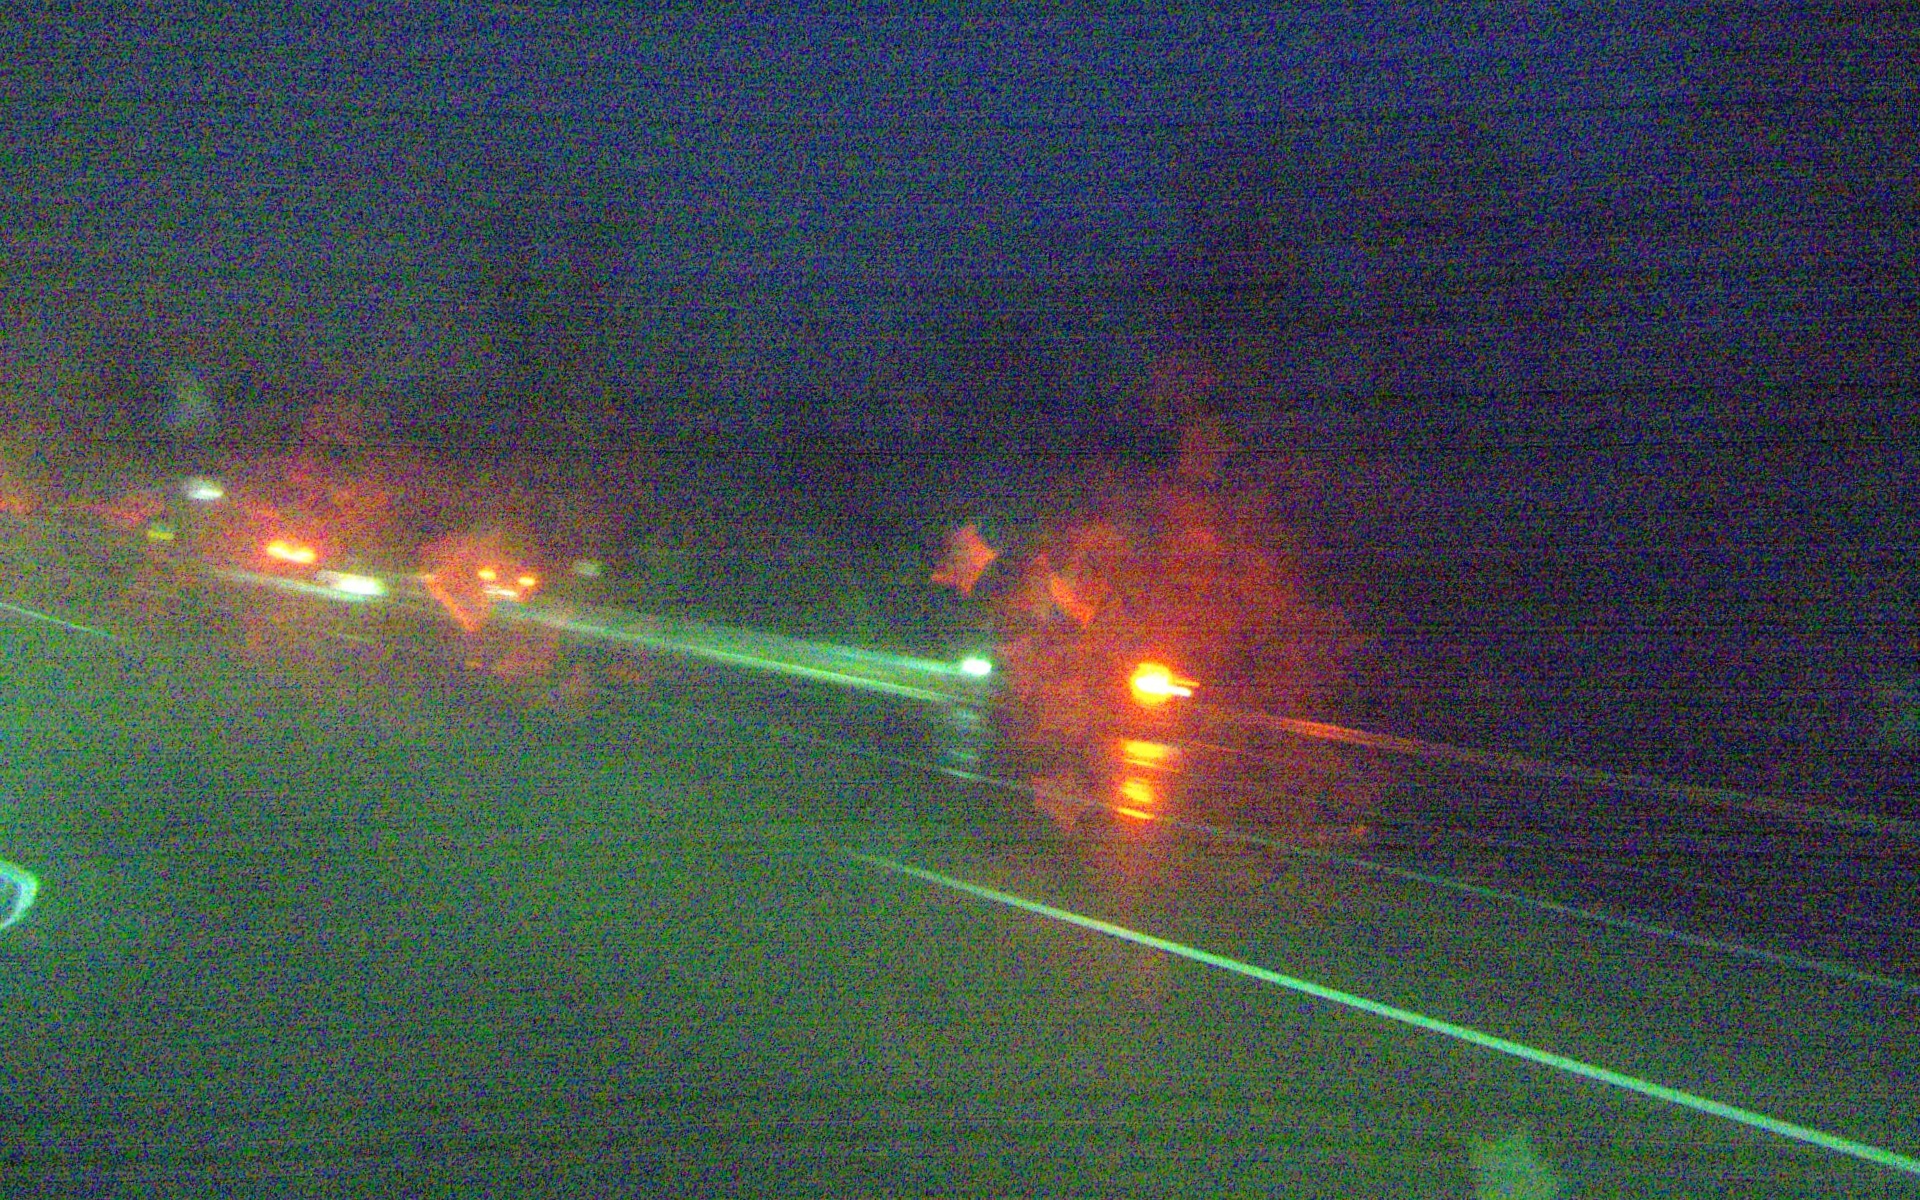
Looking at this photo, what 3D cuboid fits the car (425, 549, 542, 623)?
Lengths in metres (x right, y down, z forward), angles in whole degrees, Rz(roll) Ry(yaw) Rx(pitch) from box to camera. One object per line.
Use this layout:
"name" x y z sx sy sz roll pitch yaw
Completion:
"car" -17.196 -0.536 36.274 3.944 2.036 2.232 7 -2 41

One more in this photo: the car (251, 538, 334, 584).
"car" -33.162 -1.945 49.979 3.937 1.617 1.998 7 -4 36

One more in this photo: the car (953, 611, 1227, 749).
"car" 2.654 1.654 21.573 5.372 2.036 2.062 7 -2 42
